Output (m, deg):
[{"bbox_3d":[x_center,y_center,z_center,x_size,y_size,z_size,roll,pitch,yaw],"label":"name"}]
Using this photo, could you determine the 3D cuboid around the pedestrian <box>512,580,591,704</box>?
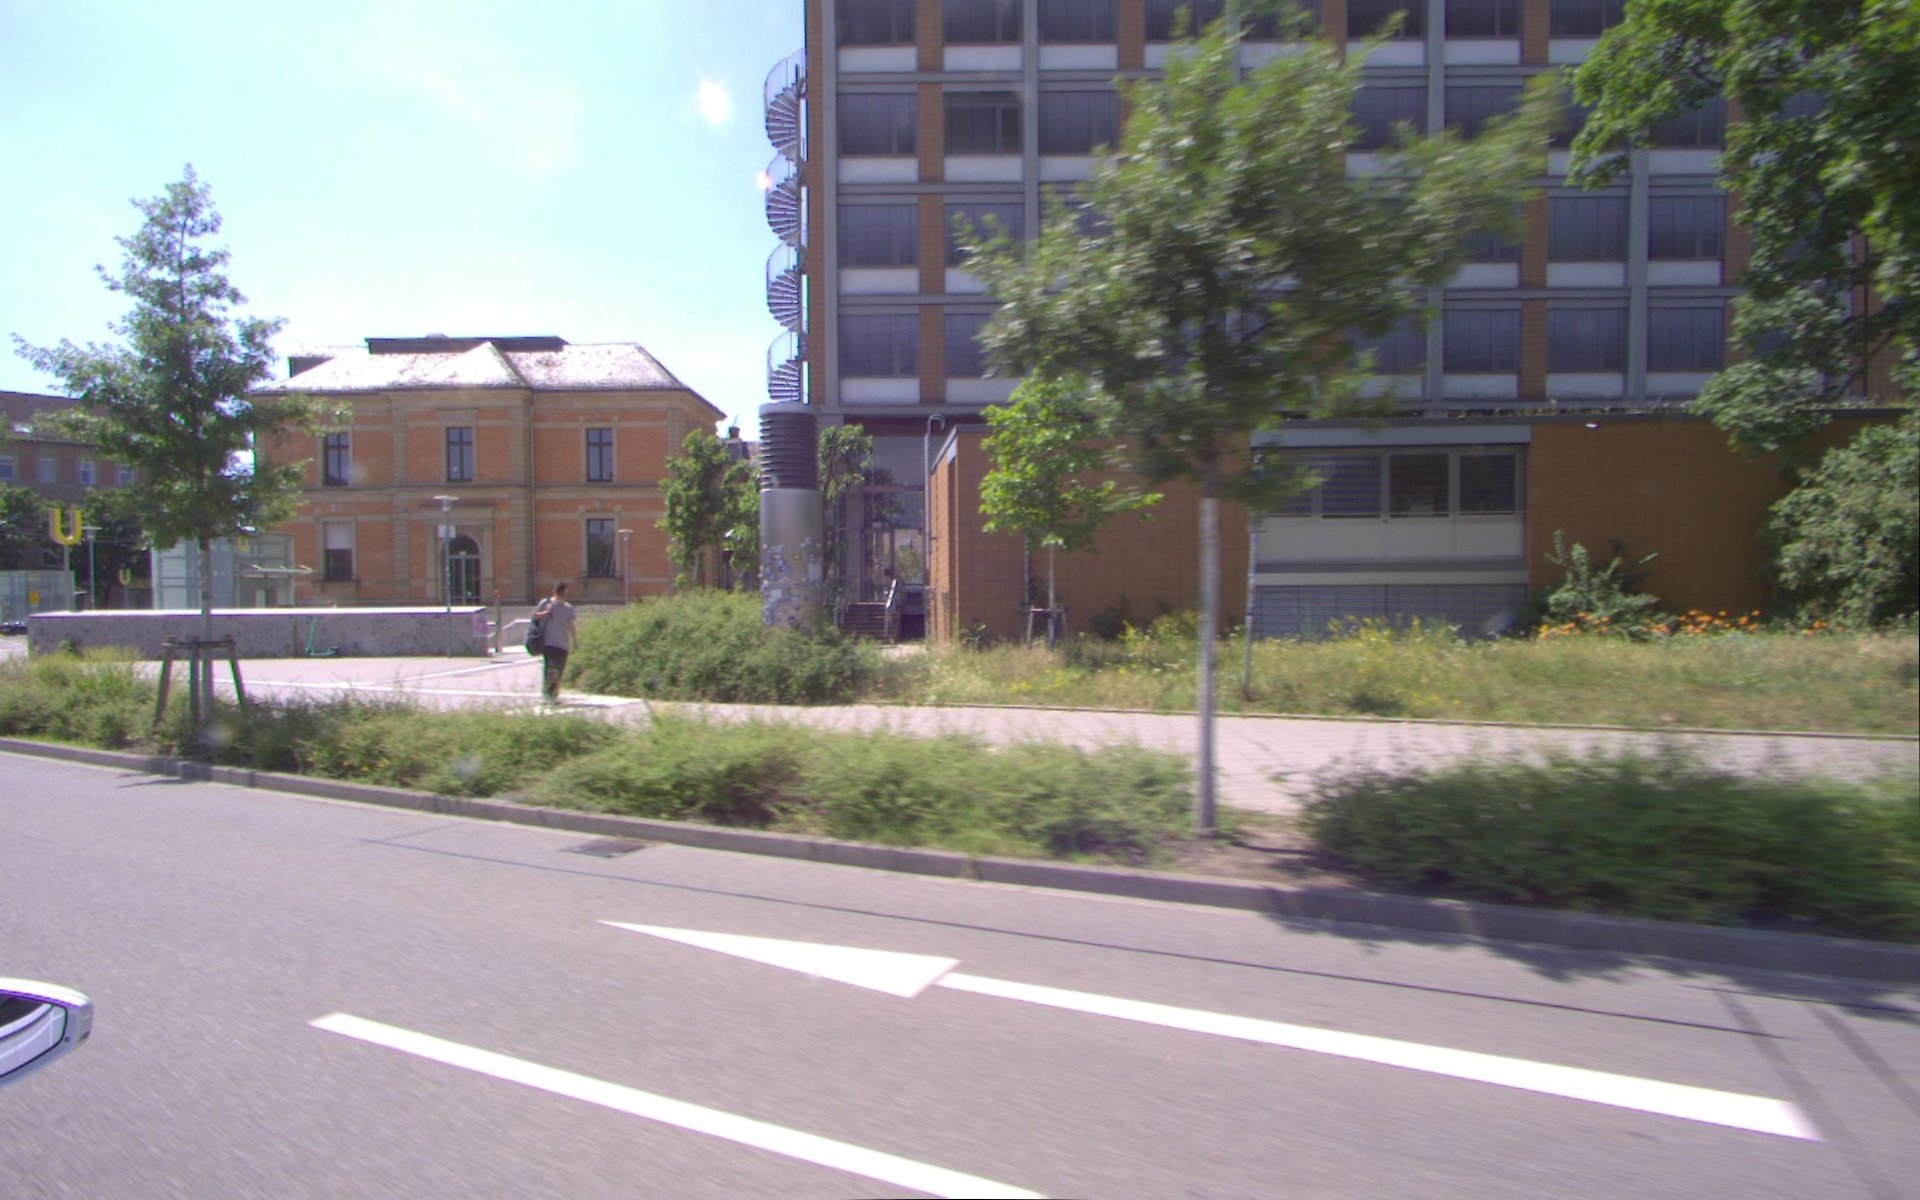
[{"bbox_3d":[-5.888,0.589,14.446,0.799,1.728,0.730,1,0,32],"label":"pedestrian"}]

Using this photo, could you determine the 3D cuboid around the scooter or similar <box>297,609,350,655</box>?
[{"bbox_3d":[-17.238,0.862,27.127,1.265,1.183,0.397,2,1,9],"label":"scooter or similar"}]

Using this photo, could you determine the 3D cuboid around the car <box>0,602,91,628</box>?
[{"bbox_3d":[-54.597,0.876,59.644,1.665,1.470,4.111,2,0,12],"label":"car"}]
